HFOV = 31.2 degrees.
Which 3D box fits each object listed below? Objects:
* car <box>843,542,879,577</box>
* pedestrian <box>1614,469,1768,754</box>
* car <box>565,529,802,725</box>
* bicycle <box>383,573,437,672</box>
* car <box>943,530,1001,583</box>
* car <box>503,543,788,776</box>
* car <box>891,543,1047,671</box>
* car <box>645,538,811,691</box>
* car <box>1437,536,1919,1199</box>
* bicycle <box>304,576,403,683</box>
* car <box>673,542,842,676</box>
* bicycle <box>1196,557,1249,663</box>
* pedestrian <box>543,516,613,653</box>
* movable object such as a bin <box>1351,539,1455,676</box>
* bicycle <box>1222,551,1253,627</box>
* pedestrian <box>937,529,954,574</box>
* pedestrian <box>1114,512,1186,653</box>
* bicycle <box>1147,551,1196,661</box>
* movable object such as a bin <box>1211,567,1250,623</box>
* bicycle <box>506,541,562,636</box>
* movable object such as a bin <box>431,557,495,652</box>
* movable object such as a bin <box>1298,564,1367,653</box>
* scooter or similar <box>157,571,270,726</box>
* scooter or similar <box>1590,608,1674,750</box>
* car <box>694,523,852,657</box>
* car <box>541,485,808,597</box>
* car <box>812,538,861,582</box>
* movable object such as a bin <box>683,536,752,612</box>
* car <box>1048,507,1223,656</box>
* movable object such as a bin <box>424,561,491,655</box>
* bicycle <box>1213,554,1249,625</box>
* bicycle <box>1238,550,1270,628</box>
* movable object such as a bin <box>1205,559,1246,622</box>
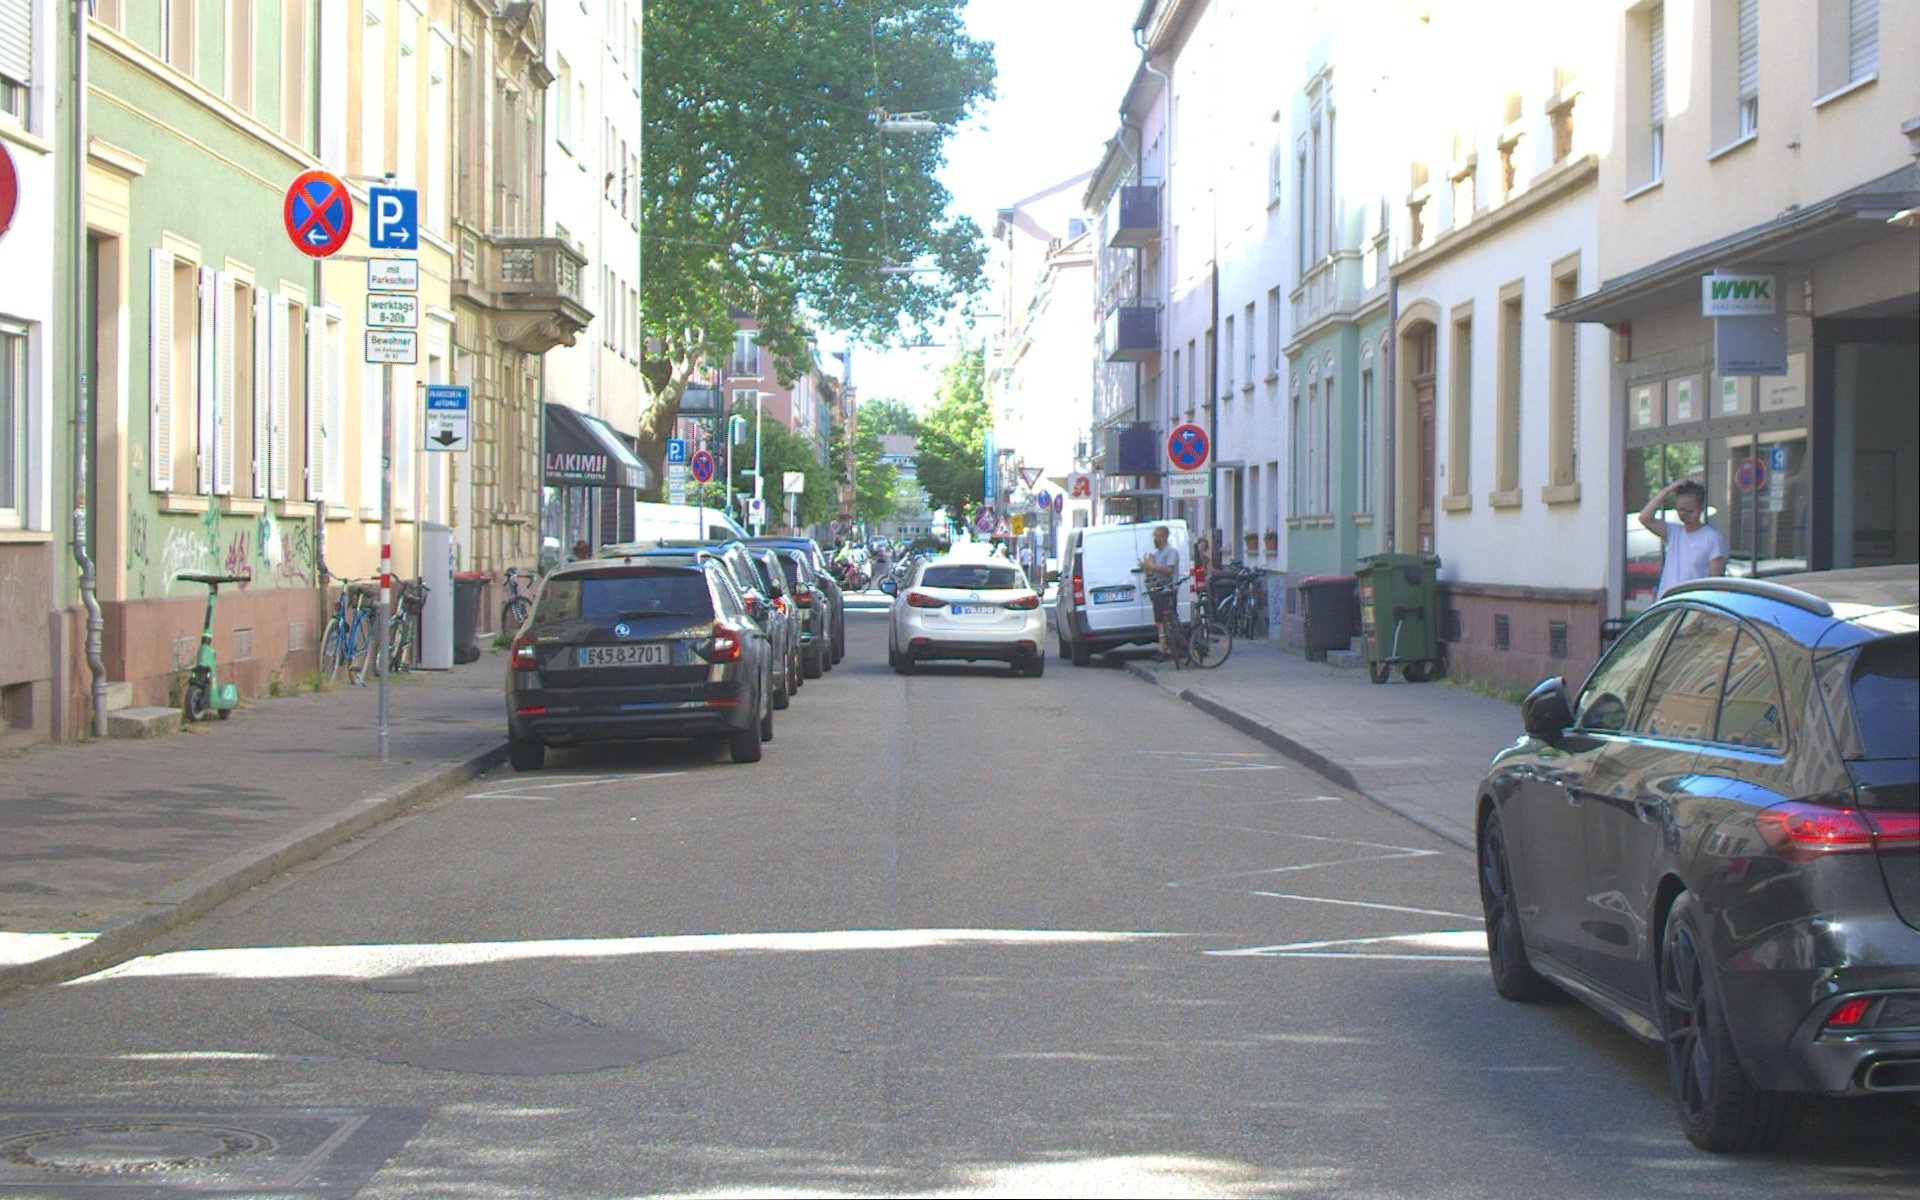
[{"bbox_3d":[-4.615,-1.882,160.289,1.572,1.580,3.611,0,0,0],"label":"car"},{"bbox_3d":[4.901,0.067,23.073,0.648,1.853,0.749,-2,2,-22],"label":"pedestrian"},{"bbox_3d":[-2.424,0.180,31.170,1.744,1.609,4.603,-1,1,0],"label":"car"},{"bbox_3d":[-5.960,0.234,37.307,0.402,1.052,1.837,0,0,-4],"label":"bicycle"},{"bbox_3d":[0.434,-1.677,131.305,1.942,1.941,4.079,1,1,-3],"label":"car"},{"bbox_3d":[-2.213,0.361,25.313,1.713,1.483,4.852,-2,1,-1],"label":"car"},{"bbox_3d":[0.070,0.050,42.591,1.823,1.509,3.824,0,1,-1],"label":"car"},{"bbox_3d":[-2.446,0.111,36.965,1.615,1.548,3.978,0,1,-2],"label":"car"},{"bbox_3d":[2.701,0.621,10.202,1.801,1.573,4.897,1,1,-1],"label":"car"},{"bbox_3d":[-5.978,0.277,33.957,0.361,1.025,1.916,0,0,9],"label":"bicycle"},{"bbox_3d":[-2.403,0.067,41.733,1.713,1.526,4.367,-1,1,1],"label":"car"},{"bbox_3d":[3.270,0.105,42.966,0.575,1.266,2.199,-2,1,3],"label":"bicycle"},{"bbox_3d":[-4.874,-0.204,43.902,0.764,1.708,0.883,2,1,-1],"label":"pedestrian"},{"bbox_3d":[4.657,0.090,36.229,0.837,1.385,1.297,-2,-1,-2],"label":"movable object such as a bin"},{"bbox_3d":[4.499,-0.181,55.659,0.438,1.202,2.265,0,0,6],"label":"bicycle"},{"bbox_3d":[-0.692,-2.263,161.289,0.771,2.111,0.835,0,0,0],"label":"pedestrian"},{"bbox_3d":[2.492,-0.235,45.166,0.866,1.830,0.883,0,0,-2],"label":"pedestrian"},{"bbox_3d":[2.618,0.058,42.640,0.575,1.316,2.199,-1,1,3],"label":"bicycle"},{"bbox_3d":[4.559,-0.086,58.018,0.577,0.921,0.607,-2,1,0],"label":"movable object such as a bin"},{"bbox_3d":[-5.850,-0.159,47.251,0.510,1.272,1.867,0,0,1],"label":"bicycle"},{"bbox_3d":[-5.958,0.055,41.256,0.719,1.128,0.585,0,0,-4],"label":"movable object such as a bin"},{"bbox_3d":[4.640,0.104,42.825,0.797,1.092,0.642,0,0,2],"label":"movable object such as a bin"},{"bbox_3d":[-5.839,0.361,26.964,0.454,1.177,1.691,0,0,2],"label":"scooter or similar"},{"bbox_3d":[4.696,0.544,24.044,0.490,0.941,0.868,-1,2,6],"label":"scooter or similar"},{"bbox_3d":[-2.511,-0.172,47.249,1.936,1.730,5.142,-1,1,-1],"label":"car"},{"bbox_3d":[-7.536,-1.553,91.290,6.739,2.546,2.145,3,0,1],"label":"car"},{"bbox_3d":[-4.598,-1.497,128.068,1.769,1.583,3.726,0,2,-1],"label":"car"},{"bbox_3d":[-4.835,-0.513,68.660,1.296,1.493,1.179,1,0,-1],"label":"movable object such as a bin"},{"bbox_3d":[2.410,-0.306,48.598,1.983,1.877,5.600,-3,1,-1],"label":"car"},{"bbox_3d":[-5.933,0.090,40.636,0.735,1.085,0.683,0,2,-4],"label":"movable object such as a bin"},{"bbox_3d":[4.473,-0.179,56.748,0.568,1.149,1.868,0,0,4],"label":"bicycle"},{"bbox_3d":[4.637,-0.173,54.324,0.405,1.202,2.159,0,0,3],"label":"bicycle"},{"bbox_3d":[4.527,-0.164,58.626,0.616,1.058,0.603,-1,1,-1],"label":"movable object such as a bin"}]
